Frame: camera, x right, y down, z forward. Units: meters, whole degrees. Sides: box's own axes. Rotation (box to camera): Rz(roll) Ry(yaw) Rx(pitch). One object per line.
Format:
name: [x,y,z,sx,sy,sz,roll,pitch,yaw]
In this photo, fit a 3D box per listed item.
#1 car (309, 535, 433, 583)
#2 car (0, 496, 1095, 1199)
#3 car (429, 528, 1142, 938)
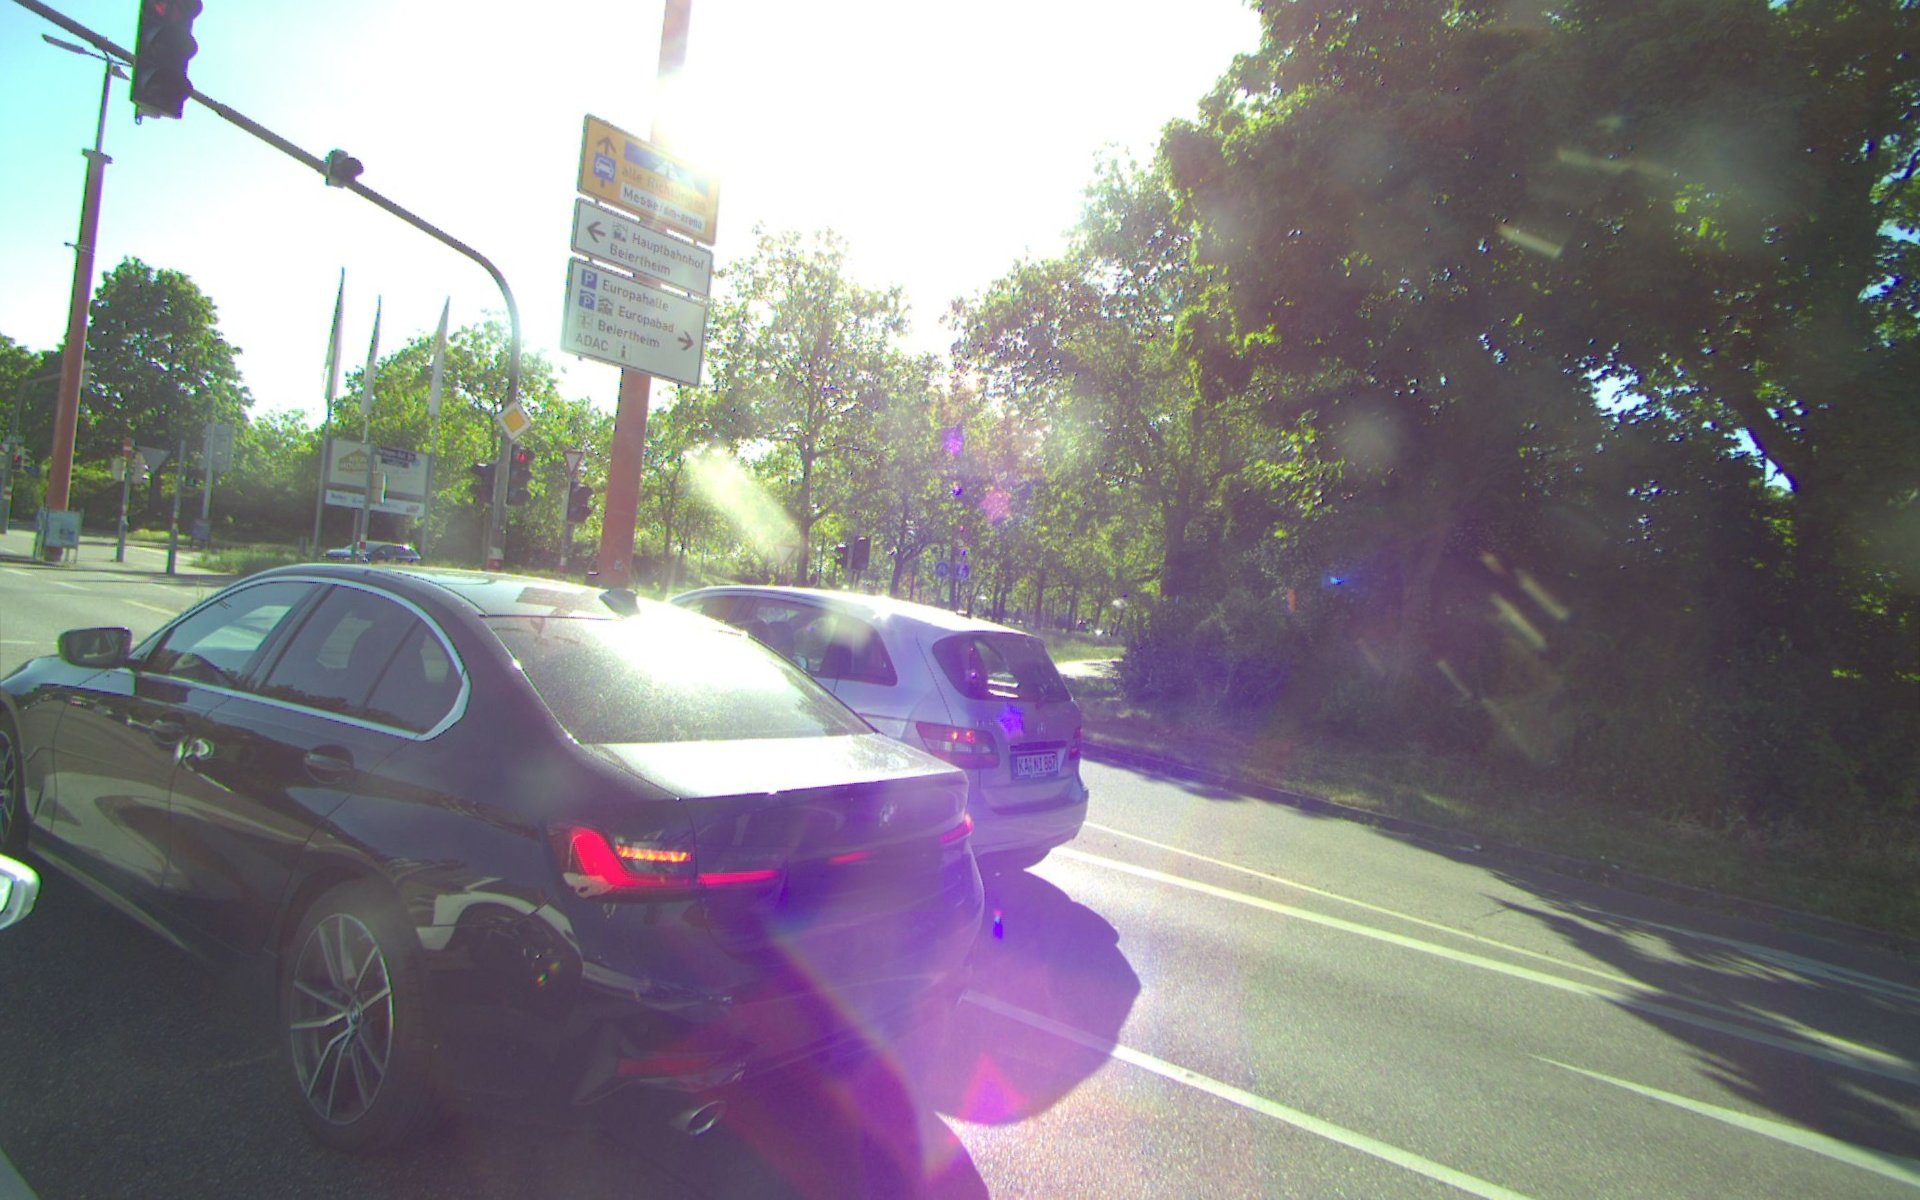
car: [-24.309,-1.659,41.688,1.848,1.445,4.283,7,-1,14]
car: [-1.969,0.530,3.894,4.403,1.411,1.996,7,0,32]
car: [-1.290,0.642,6.802,4.403,1.706,1.970,7,-1,32]
